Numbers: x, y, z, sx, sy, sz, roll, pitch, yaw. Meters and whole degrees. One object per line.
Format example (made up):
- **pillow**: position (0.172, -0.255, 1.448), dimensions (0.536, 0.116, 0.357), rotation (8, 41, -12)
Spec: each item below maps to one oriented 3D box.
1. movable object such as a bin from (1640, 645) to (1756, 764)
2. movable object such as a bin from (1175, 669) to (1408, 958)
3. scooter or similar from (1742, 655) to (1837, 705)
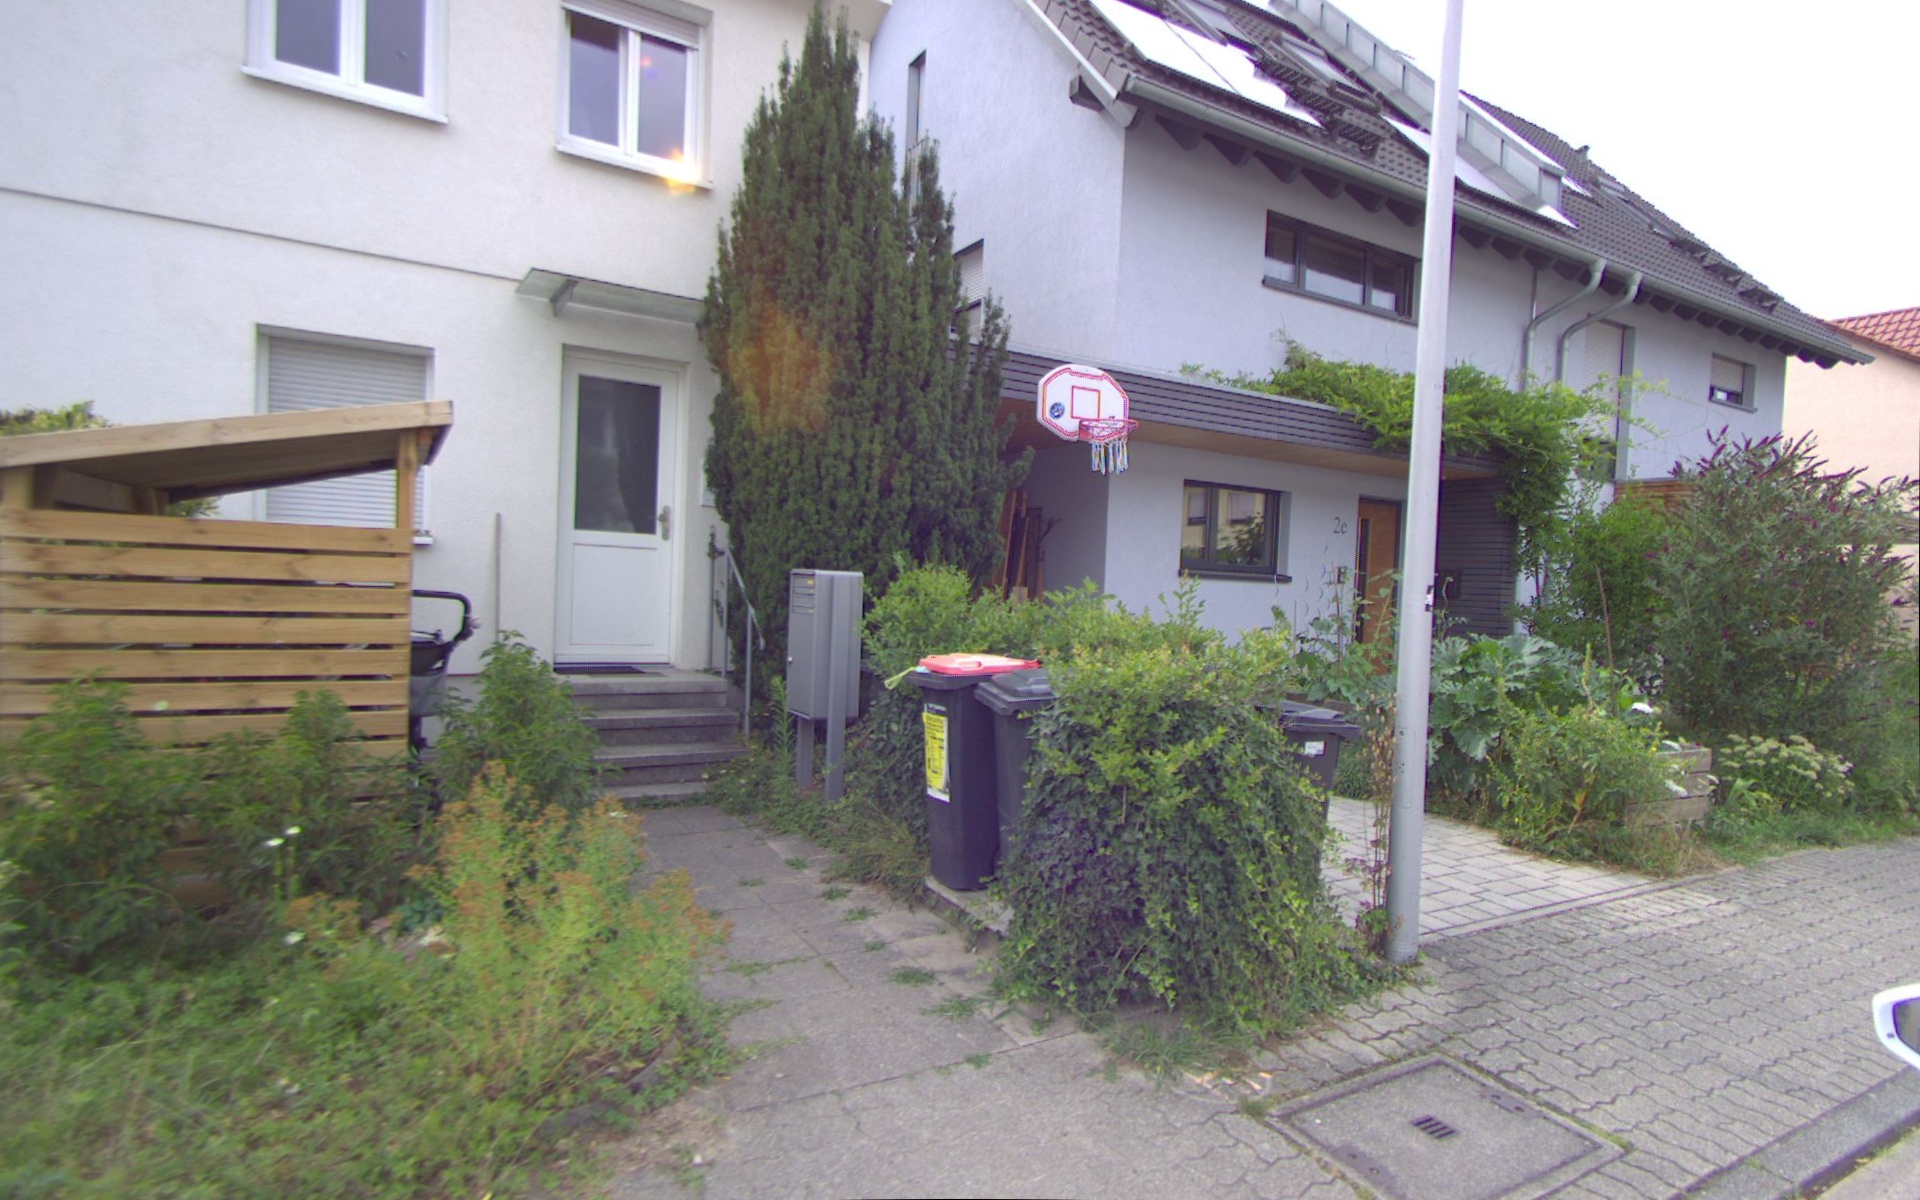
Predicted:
- **movable object such as a bin**: position (7.309, 1.004, 9.955), dimensions (0.704, 1.086, 0.695), rotation (2, 0, -33)
- **movable object such as a bin**: position (1.395, 0.850, 4.271), dimensions (0.657, 1.041, 0.599), rotation (2, 3, -29)
- **scooter or similar**: position (15.380, 1.464, 18.656), dimensions (0.359, 0.808, 1.296), rotation (1, 0, -30)
